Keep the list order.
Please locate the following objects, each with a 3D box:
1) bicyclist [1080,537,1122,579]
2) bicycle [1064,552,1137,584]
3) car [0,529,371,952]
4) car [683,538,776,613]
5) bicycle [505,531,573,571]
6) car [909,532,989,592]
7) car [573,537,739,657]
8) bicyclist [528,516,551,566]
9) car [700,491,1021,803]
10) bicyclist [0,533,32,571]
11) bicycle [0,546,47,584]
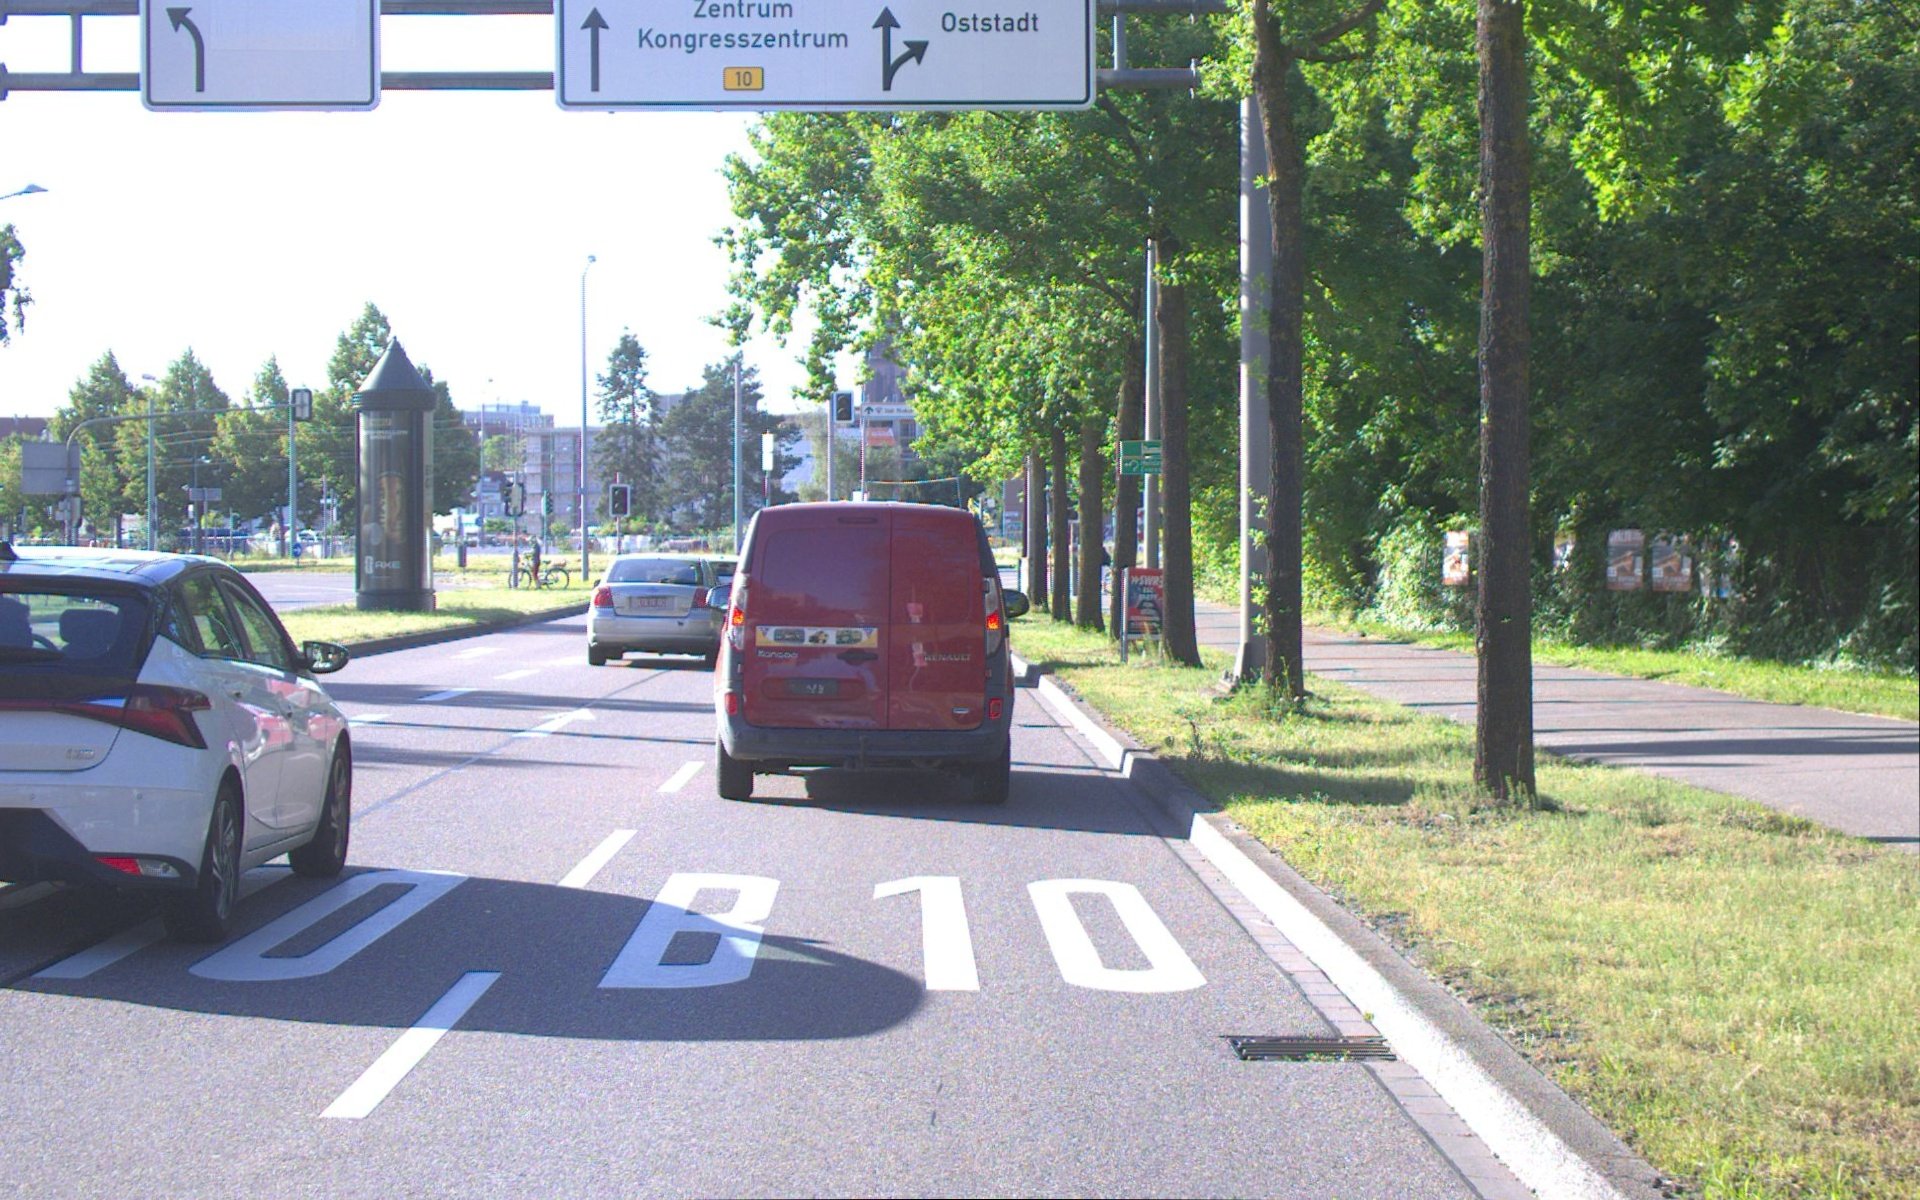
[{"bbox_3d":[4.252,-1.272,103.731,0.968,1.245,0.789,-1,1,-33],"label":"bicyclist"},{"bbox_3d":[4.235,-0.969,103.730,2.119,0.955,0.789,-1,1,-33],"label":"bicycle"},{"bbox_3d":[-3.592,0.445,13.895,1.778,1.404,4.075,1,2,-1],"label":"car"},{"bbox_3d":[-4.481,-0.496,67.274,1.661,1.393,3.559,0,1,-1],"label":"car"},{"bbox_3d":[-12.361,-1.439,101.003,1.958,1.162,0.517,0,1,-2],"label":"bicycle"},{"bbox_3d":[-0.288,-1.088,97.284,1.772,1.619,3.925,1,1,7],"label":"car"},{"bbox_3d":[-3.973,-0.074,45.484,1.841,1.451,4.163,1,1,-1],"label":"car"},{"bbox_3d":[-12.355,-1.733,100.997,0.603,1.463,0.517,0,1,-2],"label":"bicyclist"},{"bbox_3d":[-0.614,0.220,21.730,1.806,1.753,4.006,1,1,-1],"label":"car"},{"bbox_3d":[-27.681,-1.401,100.721,0.735,1.103,0.604,0,1,12],"label":"bicyclist"},{"bbox_3d":[-27.696,-1.037,100.739,1.727,1.103,0.604,0,1,12],"label":"bicycle"}]
